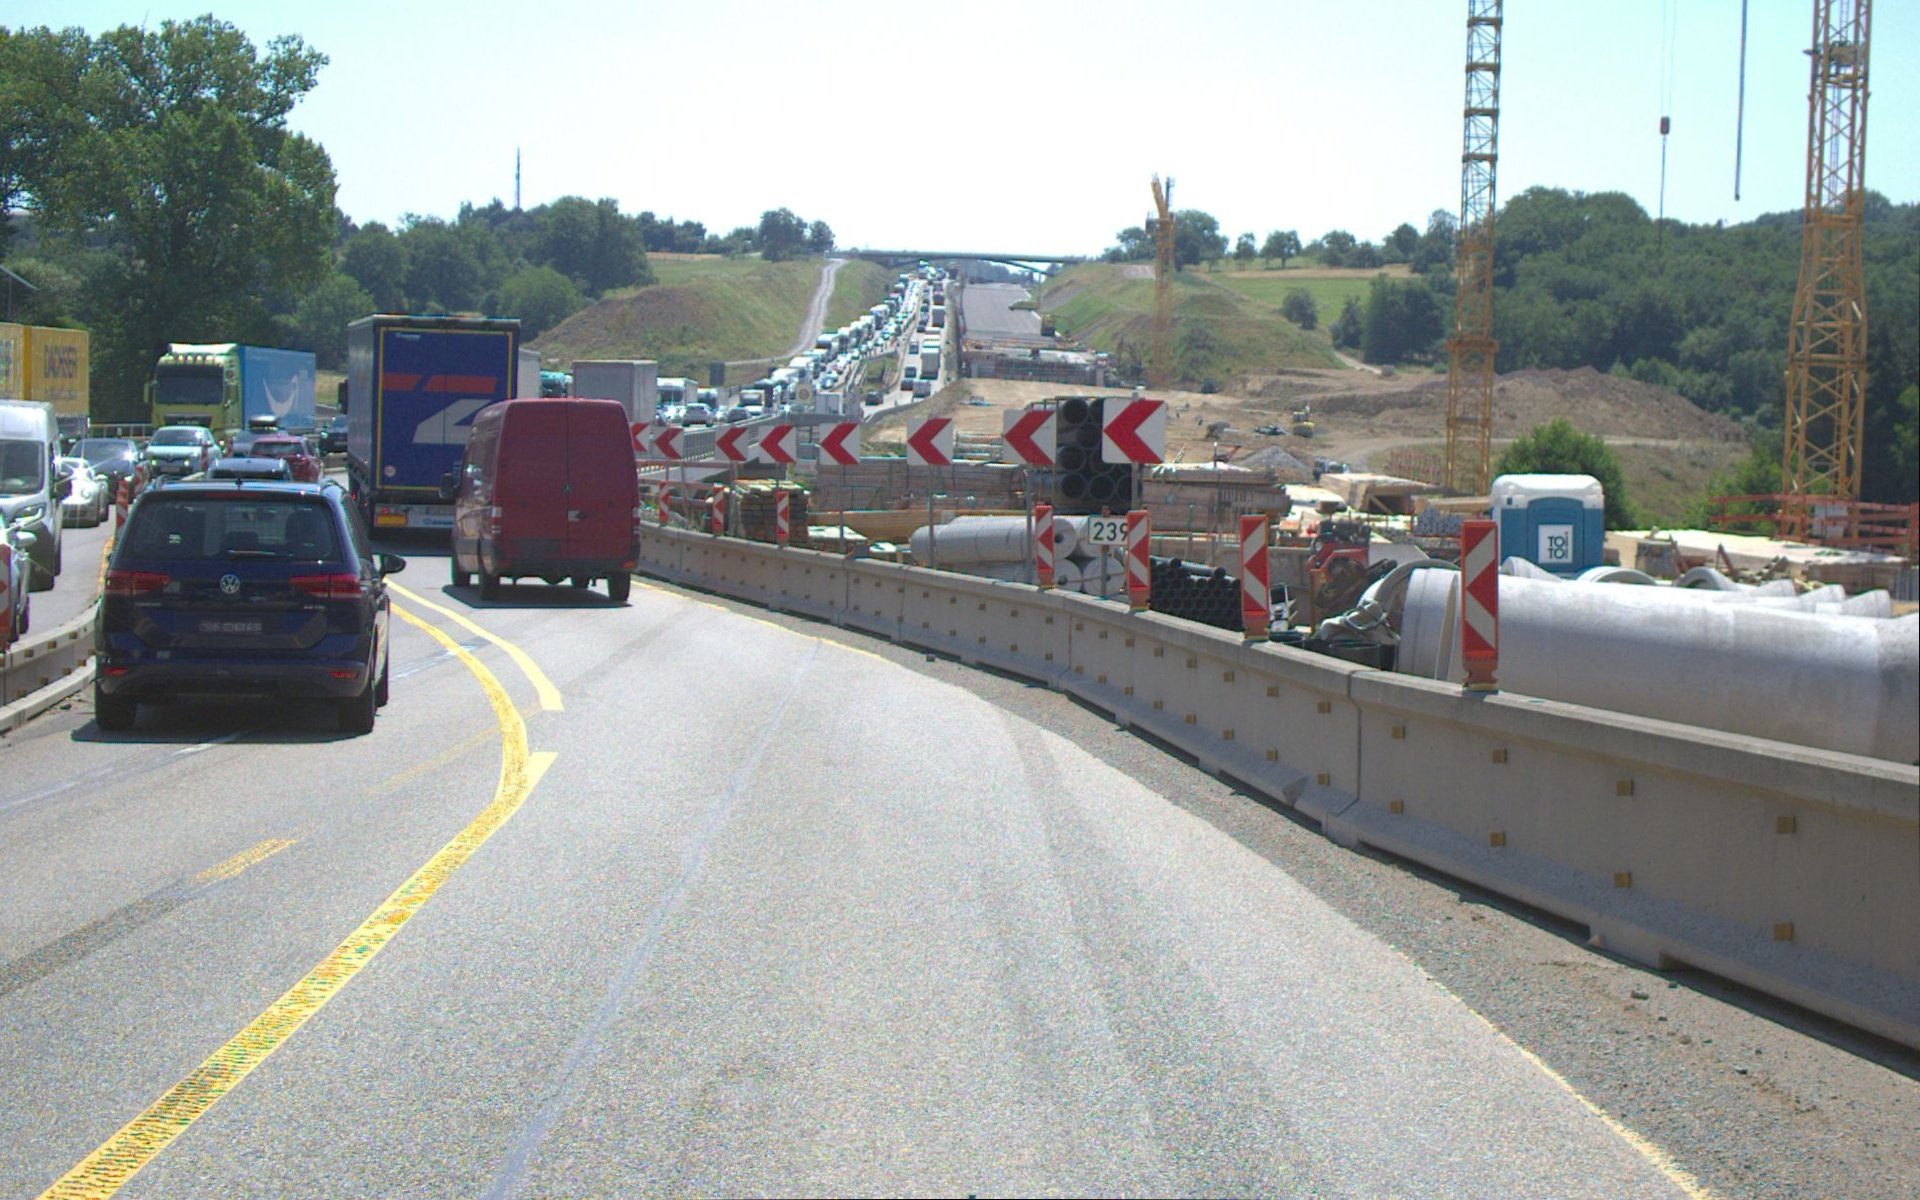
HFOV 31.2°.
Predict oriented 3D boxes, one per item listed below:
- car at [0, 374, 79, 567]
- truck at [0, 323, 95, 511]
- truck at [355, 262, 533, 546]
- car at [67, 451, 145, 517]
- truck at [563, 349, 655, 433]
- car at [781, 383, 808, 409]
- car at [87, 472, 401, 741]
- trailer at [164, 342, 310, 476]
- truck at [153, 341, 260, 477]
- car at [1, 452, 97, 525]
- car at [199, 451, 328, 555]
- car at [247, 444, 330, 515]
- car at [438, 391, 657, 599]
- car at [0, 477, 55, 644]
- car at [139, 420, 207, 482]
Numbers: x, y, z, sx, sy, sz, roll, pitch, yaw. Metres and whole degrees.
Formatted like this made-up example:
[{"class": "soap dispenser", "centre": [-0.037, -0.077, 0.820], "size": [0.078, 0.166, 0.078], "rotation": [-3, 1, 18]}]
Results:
[{"class": "car", "centre": [-13.450, -1.763, 47.962], "size": [2.070, 2.495, 6.486], "rotation": [1, 1, -13]}, {"class": "truck", "centre": [-23.956, -4.495, 84.206], "size": [2.806, 4.327, 15.379], "rotation": [2, 3, -5]}, {"class": "truck", "centre": [-9.675, -3.628, 63.909], "size": [2.944, 4.928, 6.744], "rotation": [1, 3, -11]}, {"class": "car", "centre": [-19.591, -2.674, 78.936], "size": [1.676, 1.357, 4.505], "rotation": [1, 3, -14]}, {"class": "truck", "centre": [-15.185, -9.032, 149.456], "size": [3.183, 2.967, 8.900], "rotation": [1, 0, -1]}, {"class": "car", "centre": [-11.179, -13.777, 232.183], "size": [1.617, 1.693, 3.890], "rotation": [2, 3, -1]}, {"class": "car", "centre": [-4.796, -0.033, 23.514], "size": [1.733, 1.629, 4.391], "rotation": [1, 2, -7]}, {"class": "trailer", "centre": [-24.999, -6.554, 119.540], "size": [2.647, 4.277, 13.312], "rotation": [2, 2, -2]}, {"class": "truck", "centre": [-24.667, -6.243, 112.688], "size": [2.625, 4.255, 4.733], "rotation": [2, 2, -4]}, {"class": "car", "centre": [-17.761, -2.196, 67.142], "size": [1.676, 1.260, 4.338], "rotation": [1, 3, -14]}, {"class": "car", "centre": [-11.545, -1.622, 57.209], "size": [1.833, 1.629, 4.391], "rotation": [1, 2, -8]}, {"class": "car", "centre": [-16.213, -2.927, 83.124], "size": [1.833, 1.629, 4.107], "rotation": [1, 2, -9]}, {"class": "car", "centre": [-5.661, -1.432, 46.544], "size": [2.149, 2.602, 5.441], "rotation": [1, 2, -15]}, {"class": "car", "centre": [-10.061, -0.451, 33.742], "size": [1.844, 1.459, 4.525], "rotation": [1, 3, -9]}, {"class": "car", "centre": [-21.017, -4.006, 91.908], "size": [1.636, 1.480, 4.002], "rotation": [1, 4, -11]}]
